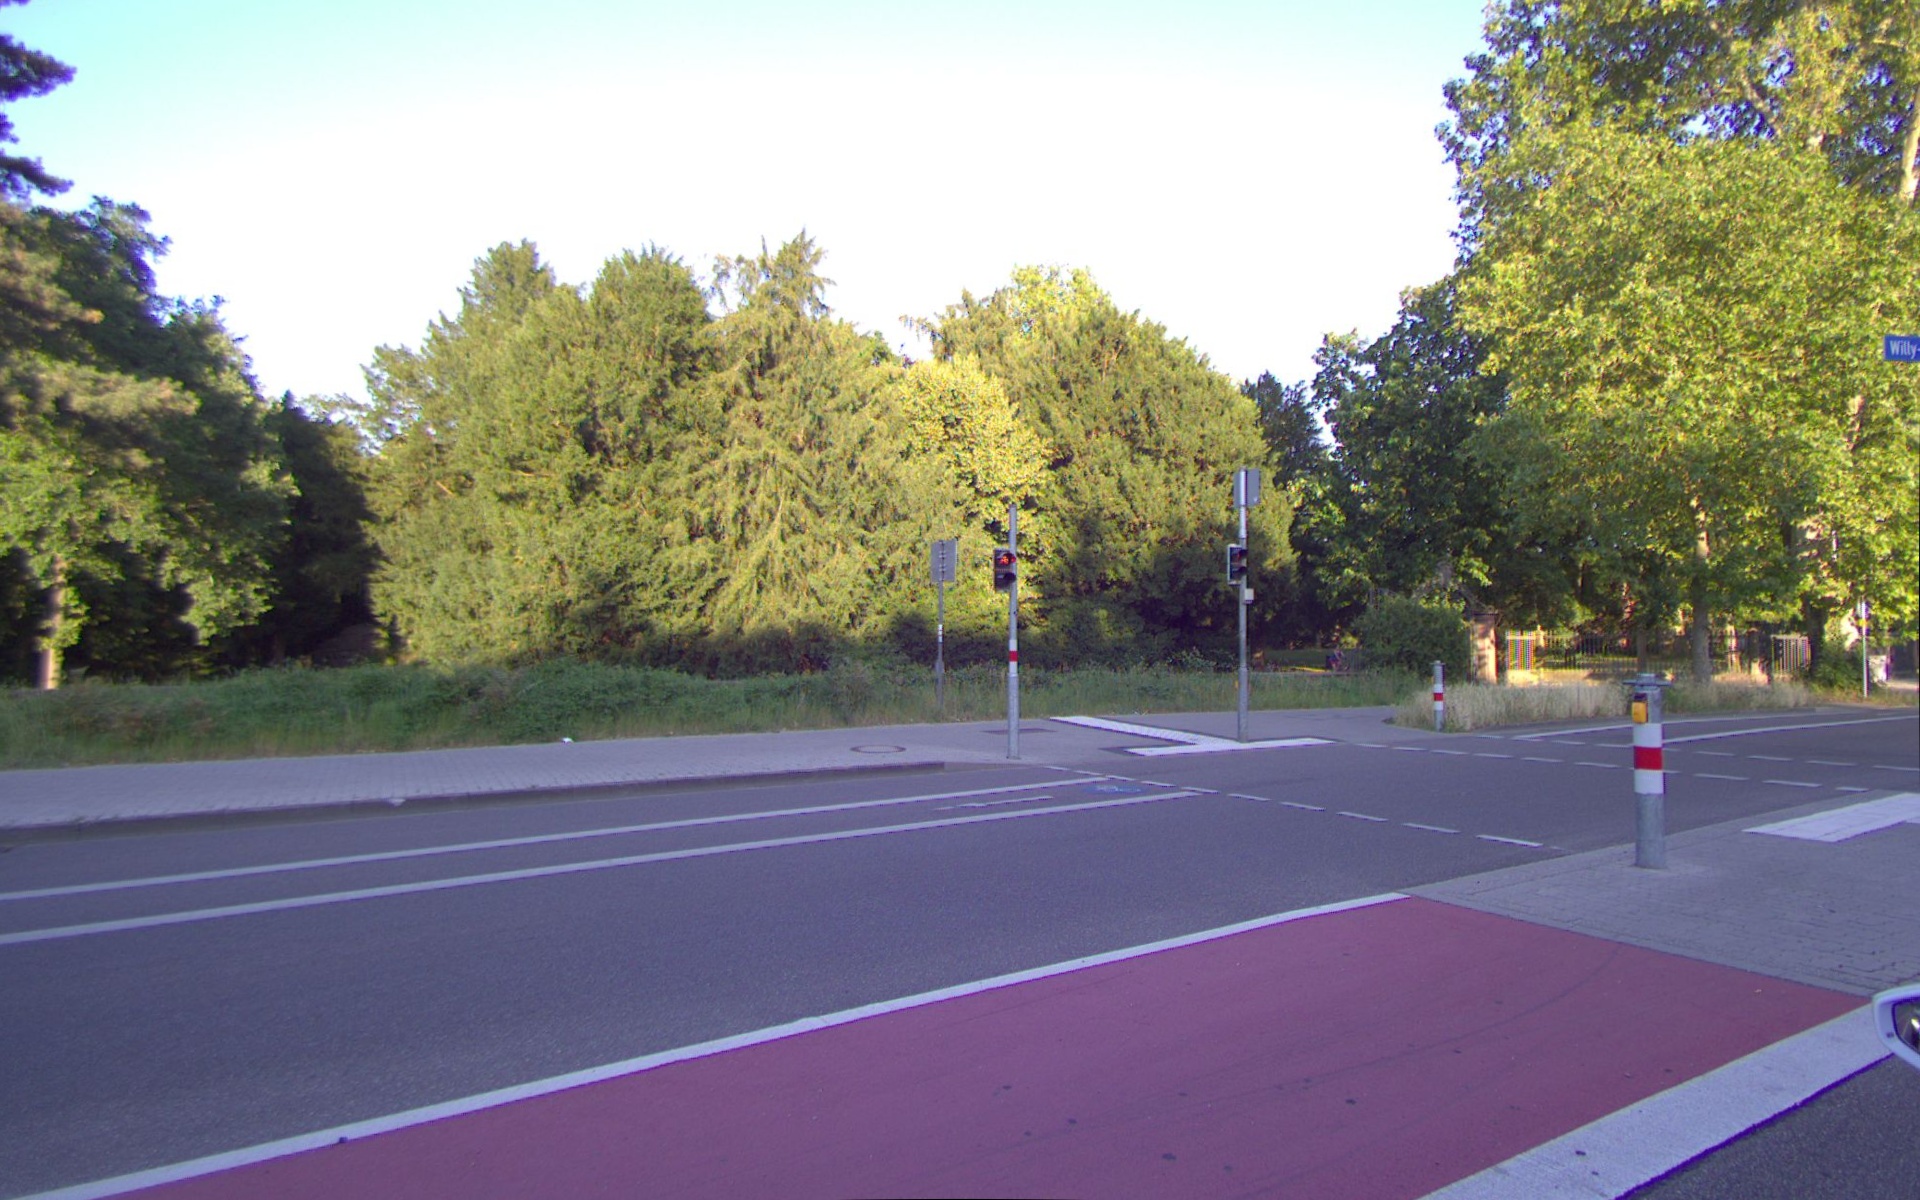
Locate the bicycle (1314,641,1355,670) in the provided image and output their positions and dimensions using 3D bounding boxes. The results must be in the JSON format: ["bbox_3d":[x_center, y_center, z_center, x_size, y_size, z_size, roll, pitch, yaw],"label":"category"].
[{"bbox_3d":[16.452,2.424,44.166,0.778,1.273,1.976,1,-2,-11],"label":"bicycle"}]

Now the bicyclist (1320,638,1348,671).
[{"bbox_3d":[16.449,2.402,44.203,0.778,1.445,0.890,1,-2,-11],"label":"bicyclist"}]
